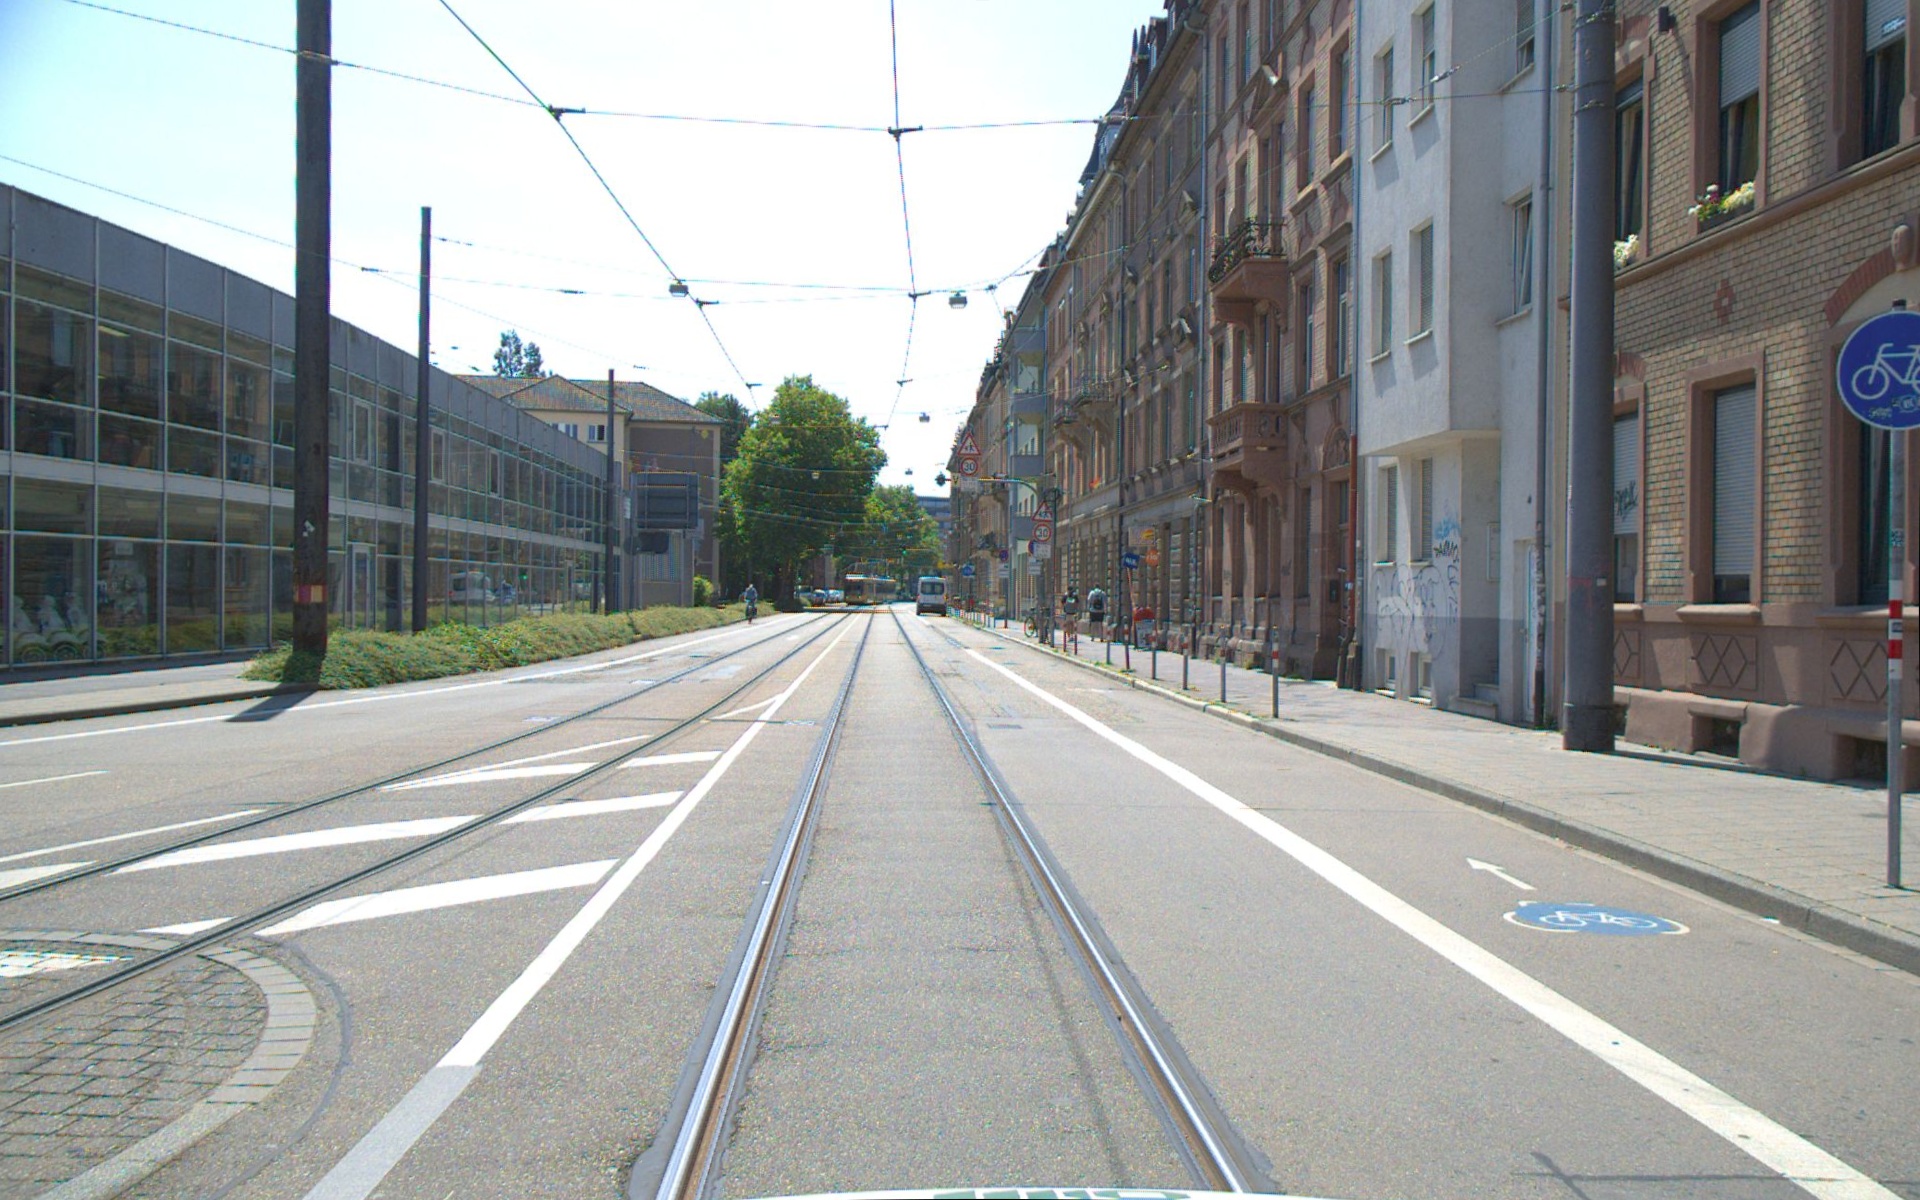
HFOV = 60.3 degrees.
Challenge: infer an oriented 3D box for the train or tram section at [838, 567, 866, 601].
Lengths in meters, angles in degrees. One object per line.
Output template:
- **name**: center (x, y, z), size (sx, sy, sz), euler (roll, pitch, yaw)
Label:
- **train or tram section**: center (-11.994, -1.784, 184.428), size (2.902, 3.643, 13.415), euler (1, 0, -3)

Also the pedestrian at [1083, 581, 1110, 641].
- **pedestrian**: center (4.332, 0.343, 52.518), size (0.688, 1.881, 0.643), euler (-3, 0, -2)

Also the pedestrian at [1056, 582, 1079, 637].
- **pedestrian**: center (3.439, 0.286, 52.933), size (0.705, 1.750, 0.643), euler (0, 0, -2)

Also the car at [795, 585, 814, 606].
- **car**: center (-15.274, -0.433, 162.225), size (1.765, 1.956, 3.996), euler (1, 0, -5)

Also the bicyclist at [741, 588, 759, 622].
- **bicyclist**: center (-9.946, 0.239, 78.425), size (0.683, 1.575, 0.980), euler (0, 0, 2)

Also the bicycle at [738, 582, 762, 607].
- **bicycle**: center (-9.954, -0.275, 78.505), size (0.683, 1.164, 2.496), euler (0, 0, 3)

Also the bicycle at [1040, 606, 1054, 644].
- **bicycle**: center (2.676, 0.754, 50.933), size (0.438, 1.116, 2.423), euler (0, 0, 3)

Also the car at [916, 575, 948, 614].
- **car**: center (-1.950, -0.386, 112.799), size (2.026, 2.544, 5.452), euler (1, 0, -2)

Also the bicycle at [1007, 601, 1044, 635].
- **bicycle**: center (2.335, 0.625, 58.735), size (0.489, 1.150, 2.241), euler (0, 0, 25)
